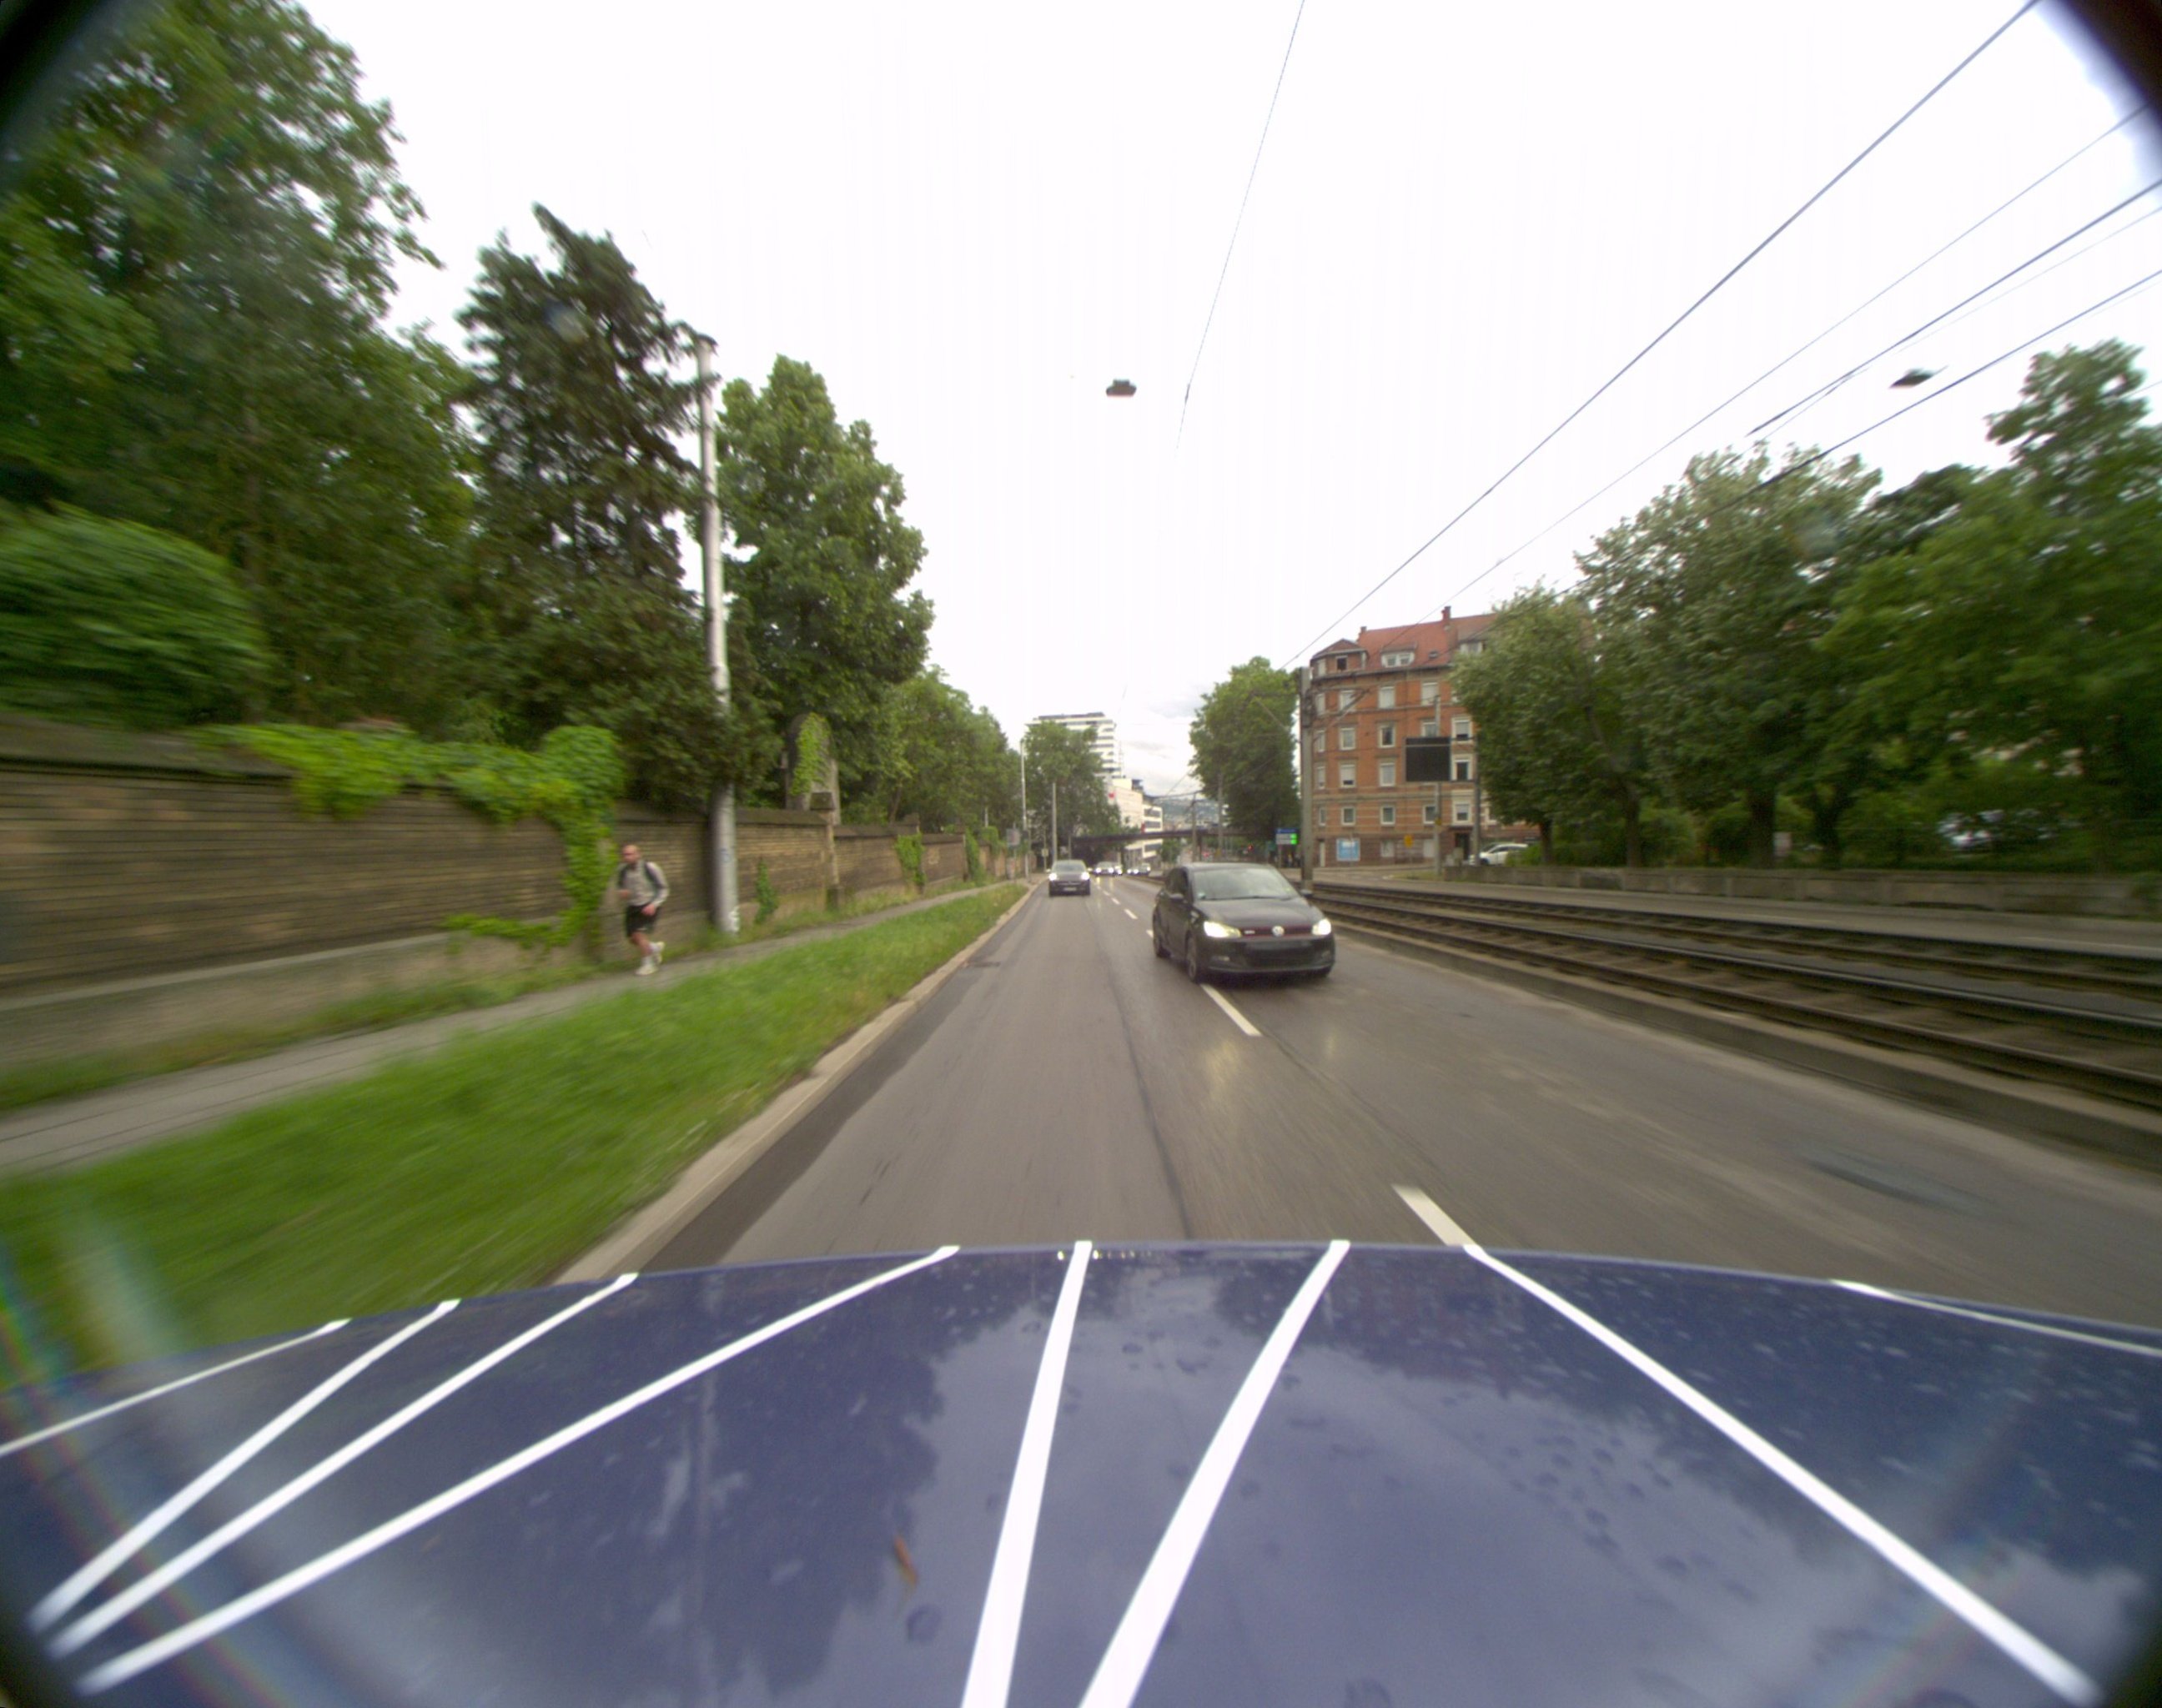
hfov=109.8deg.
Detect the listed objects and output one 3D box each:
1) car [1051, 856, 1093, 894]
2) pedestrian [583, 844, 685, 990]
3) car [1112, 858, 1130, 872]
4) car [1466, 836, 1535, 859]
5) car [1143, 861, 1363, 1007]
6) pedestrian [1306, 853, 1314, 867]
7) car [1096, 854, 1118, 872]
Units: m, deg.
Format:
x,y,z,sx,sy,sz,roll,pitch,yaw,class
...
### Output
x,y,z,sx,sy,sz,roll,pitch,yaw,class
-0.383,0.832,32.124,1.658,1.483,3.829,-1,0,-1,car
-5.689,0.772,9.725,0.710,1.769,0.901,-2,0,-1,pedestrian
4.425,1.227,84.103,1.735,1.368,4.002,-3,0,7,car
32.207,-0.516,58.456,4.428,1.588,1.844,-2,0,22,car
2.015,0.868,10.118,1.799,1.477,3.963,-2,0,-3,car
22.768,0.626,75.535,0.620,1.346,0.538,-3,1,-1,pedestrian
2.384,0.810,69.378,1.640,1.368,3.575,-2,2,8,car
